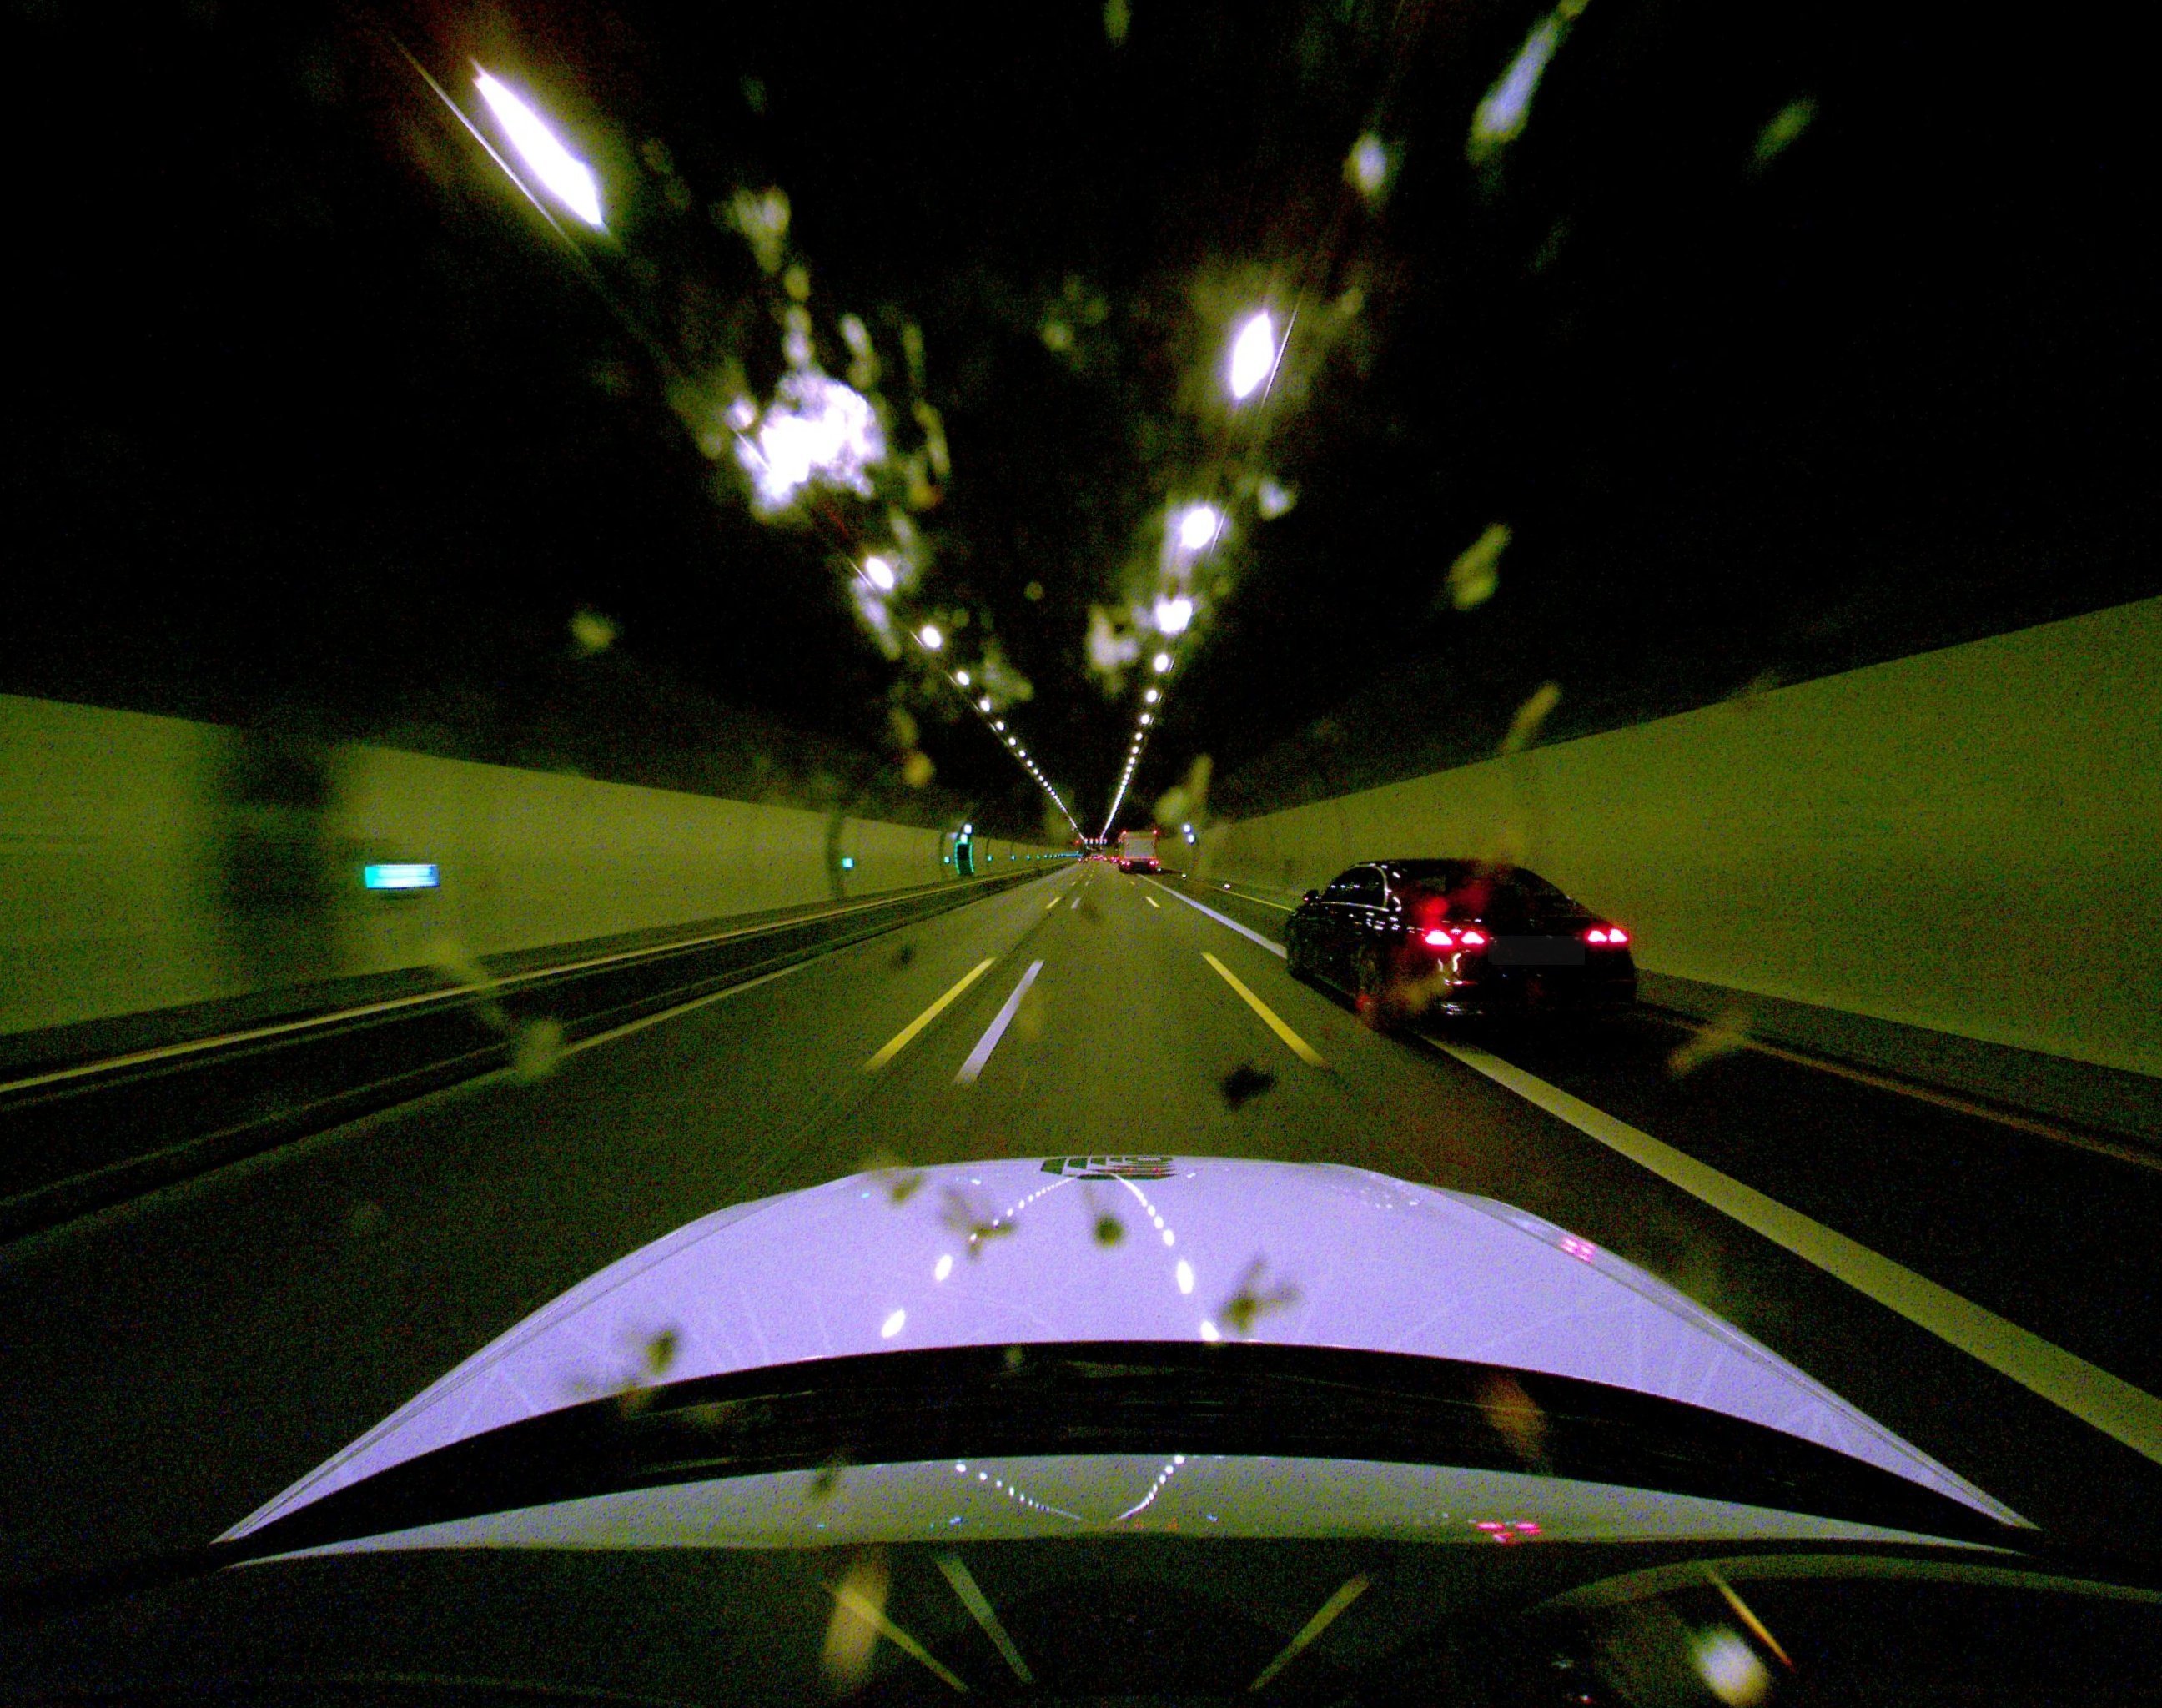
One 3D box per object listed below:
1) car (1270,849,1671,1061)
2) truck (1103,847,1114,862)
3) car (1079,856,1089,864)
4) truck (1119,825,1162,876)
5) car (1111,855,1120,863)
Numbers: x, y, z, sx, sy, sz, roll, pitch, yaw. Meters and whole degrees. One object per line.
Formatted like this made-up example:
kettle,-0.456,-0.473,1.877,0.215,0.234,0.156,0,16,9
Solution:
car,3.368,0.746,8.330,1.918,1.472,4.957,1,-1,3
truck,7.997,0.211,237.846,3.054,3.918,10.373,2,-1,3
car,0.640,1.148,160.718,1.752,1.461,4.120,1,0,1
truck,4.968,-0.181,69.974,3.081,3.918,10.369,2,-1,1
car,6.691,0.997,158.126,1.732,1.461,3.963,1,0,3
